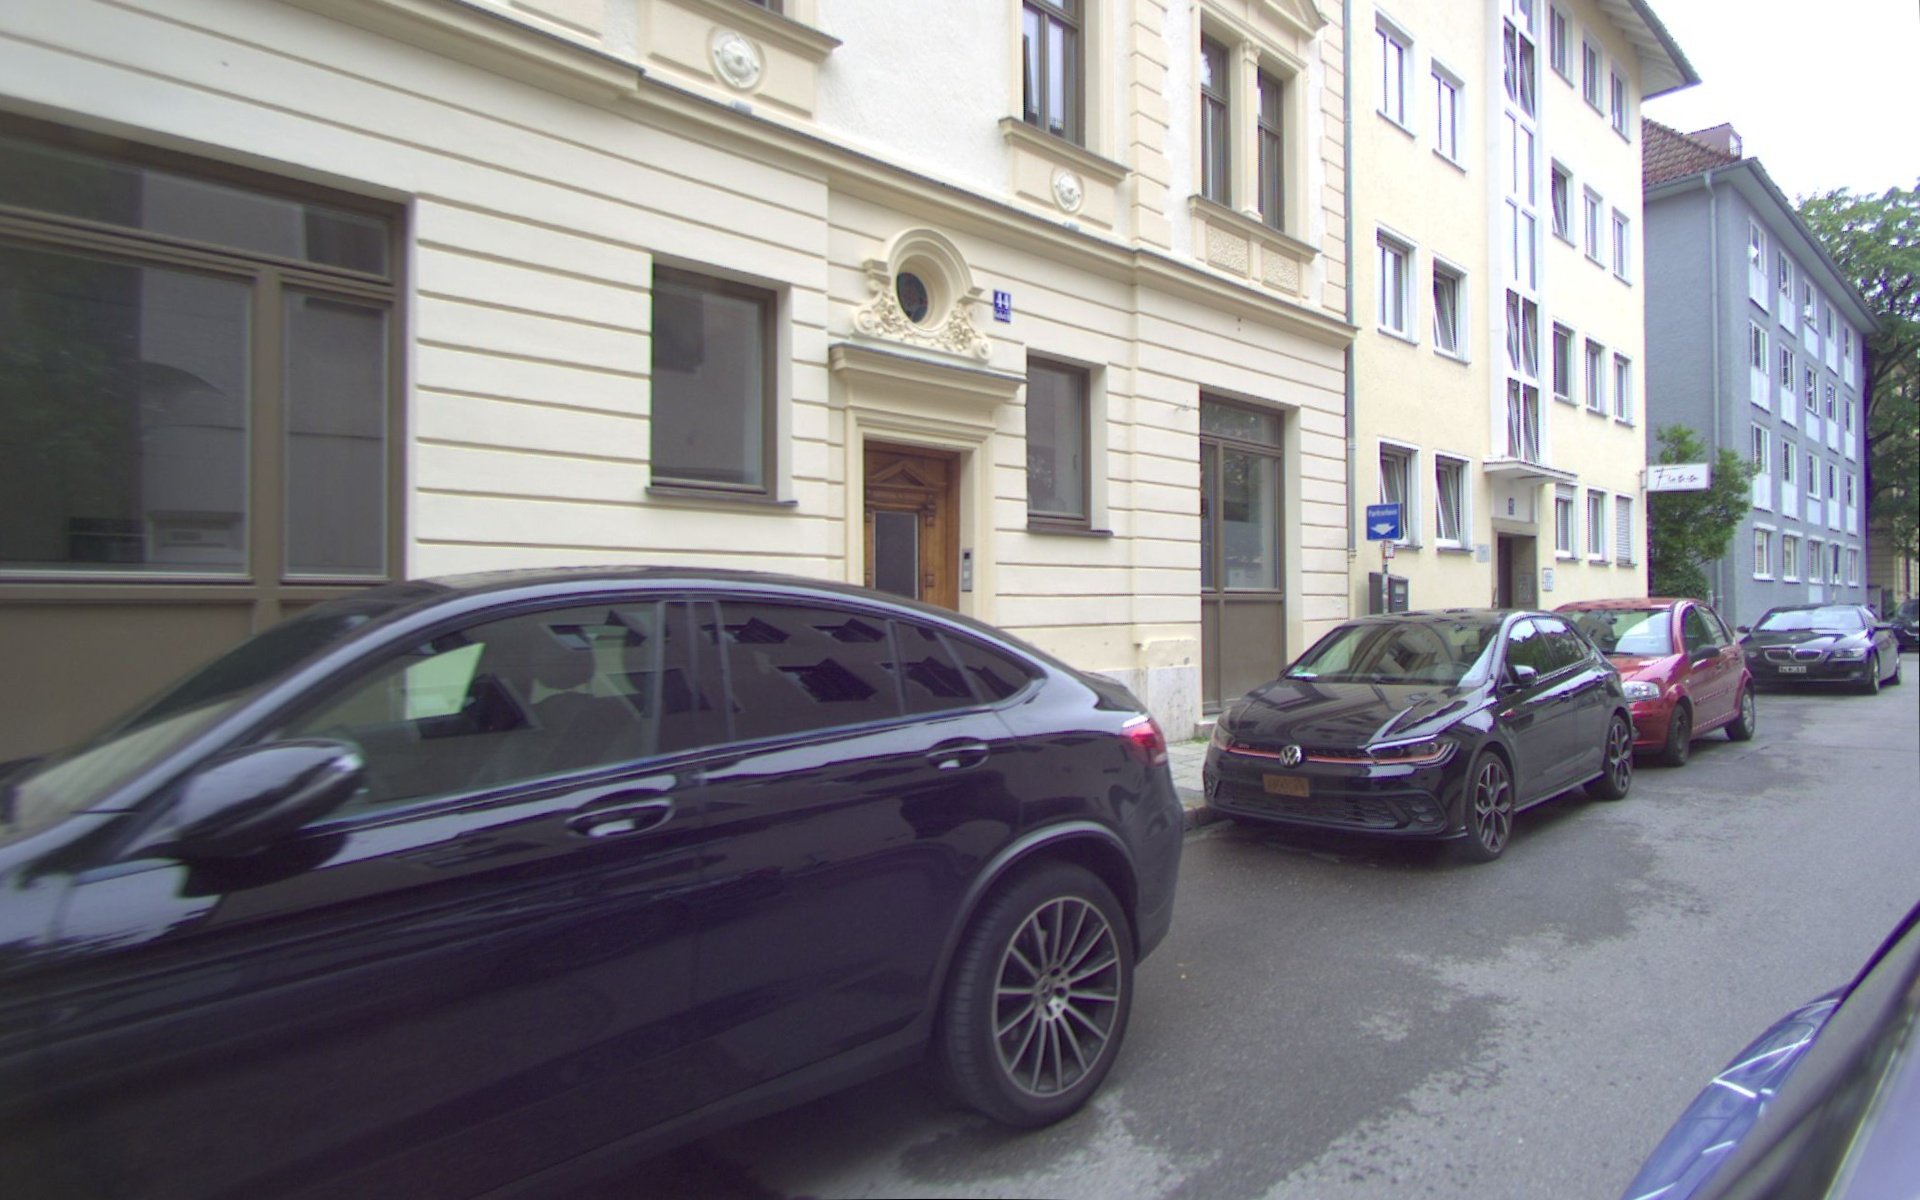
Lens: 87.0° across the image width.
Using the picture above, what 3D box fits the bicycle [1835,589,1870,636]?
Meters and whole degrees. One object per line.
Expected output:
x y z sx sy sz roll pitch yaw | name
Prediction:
29.068 0.393 32.964 2.239 1.505 0.515 0 -1 -41 | bicycle

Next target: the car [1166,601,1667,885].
3.362 0.736 7.087 3.994 1.411 1.678 0 -1 -41 | car

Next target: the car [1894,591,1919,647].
27.021 0.450 27.626 4.192 1.447 1.842 0 -4 -43 | car

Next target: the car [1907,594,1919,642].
30.515 0.463 30.842 4.405 1.419 1.792 -1 -4 -40 | car

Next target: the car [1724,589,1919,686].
14.120 0.567 16.425 4.430 1.352 1.827 0 -4 -41 | car

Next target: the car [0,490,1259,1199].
-1.238 0.663 2.665 4.604 1.627 1.704 0 -1 -42 | car

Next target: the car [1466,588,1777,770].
6.823 0.654 10.295 3.786 1.511 1.678 0 -1 -41 | car
